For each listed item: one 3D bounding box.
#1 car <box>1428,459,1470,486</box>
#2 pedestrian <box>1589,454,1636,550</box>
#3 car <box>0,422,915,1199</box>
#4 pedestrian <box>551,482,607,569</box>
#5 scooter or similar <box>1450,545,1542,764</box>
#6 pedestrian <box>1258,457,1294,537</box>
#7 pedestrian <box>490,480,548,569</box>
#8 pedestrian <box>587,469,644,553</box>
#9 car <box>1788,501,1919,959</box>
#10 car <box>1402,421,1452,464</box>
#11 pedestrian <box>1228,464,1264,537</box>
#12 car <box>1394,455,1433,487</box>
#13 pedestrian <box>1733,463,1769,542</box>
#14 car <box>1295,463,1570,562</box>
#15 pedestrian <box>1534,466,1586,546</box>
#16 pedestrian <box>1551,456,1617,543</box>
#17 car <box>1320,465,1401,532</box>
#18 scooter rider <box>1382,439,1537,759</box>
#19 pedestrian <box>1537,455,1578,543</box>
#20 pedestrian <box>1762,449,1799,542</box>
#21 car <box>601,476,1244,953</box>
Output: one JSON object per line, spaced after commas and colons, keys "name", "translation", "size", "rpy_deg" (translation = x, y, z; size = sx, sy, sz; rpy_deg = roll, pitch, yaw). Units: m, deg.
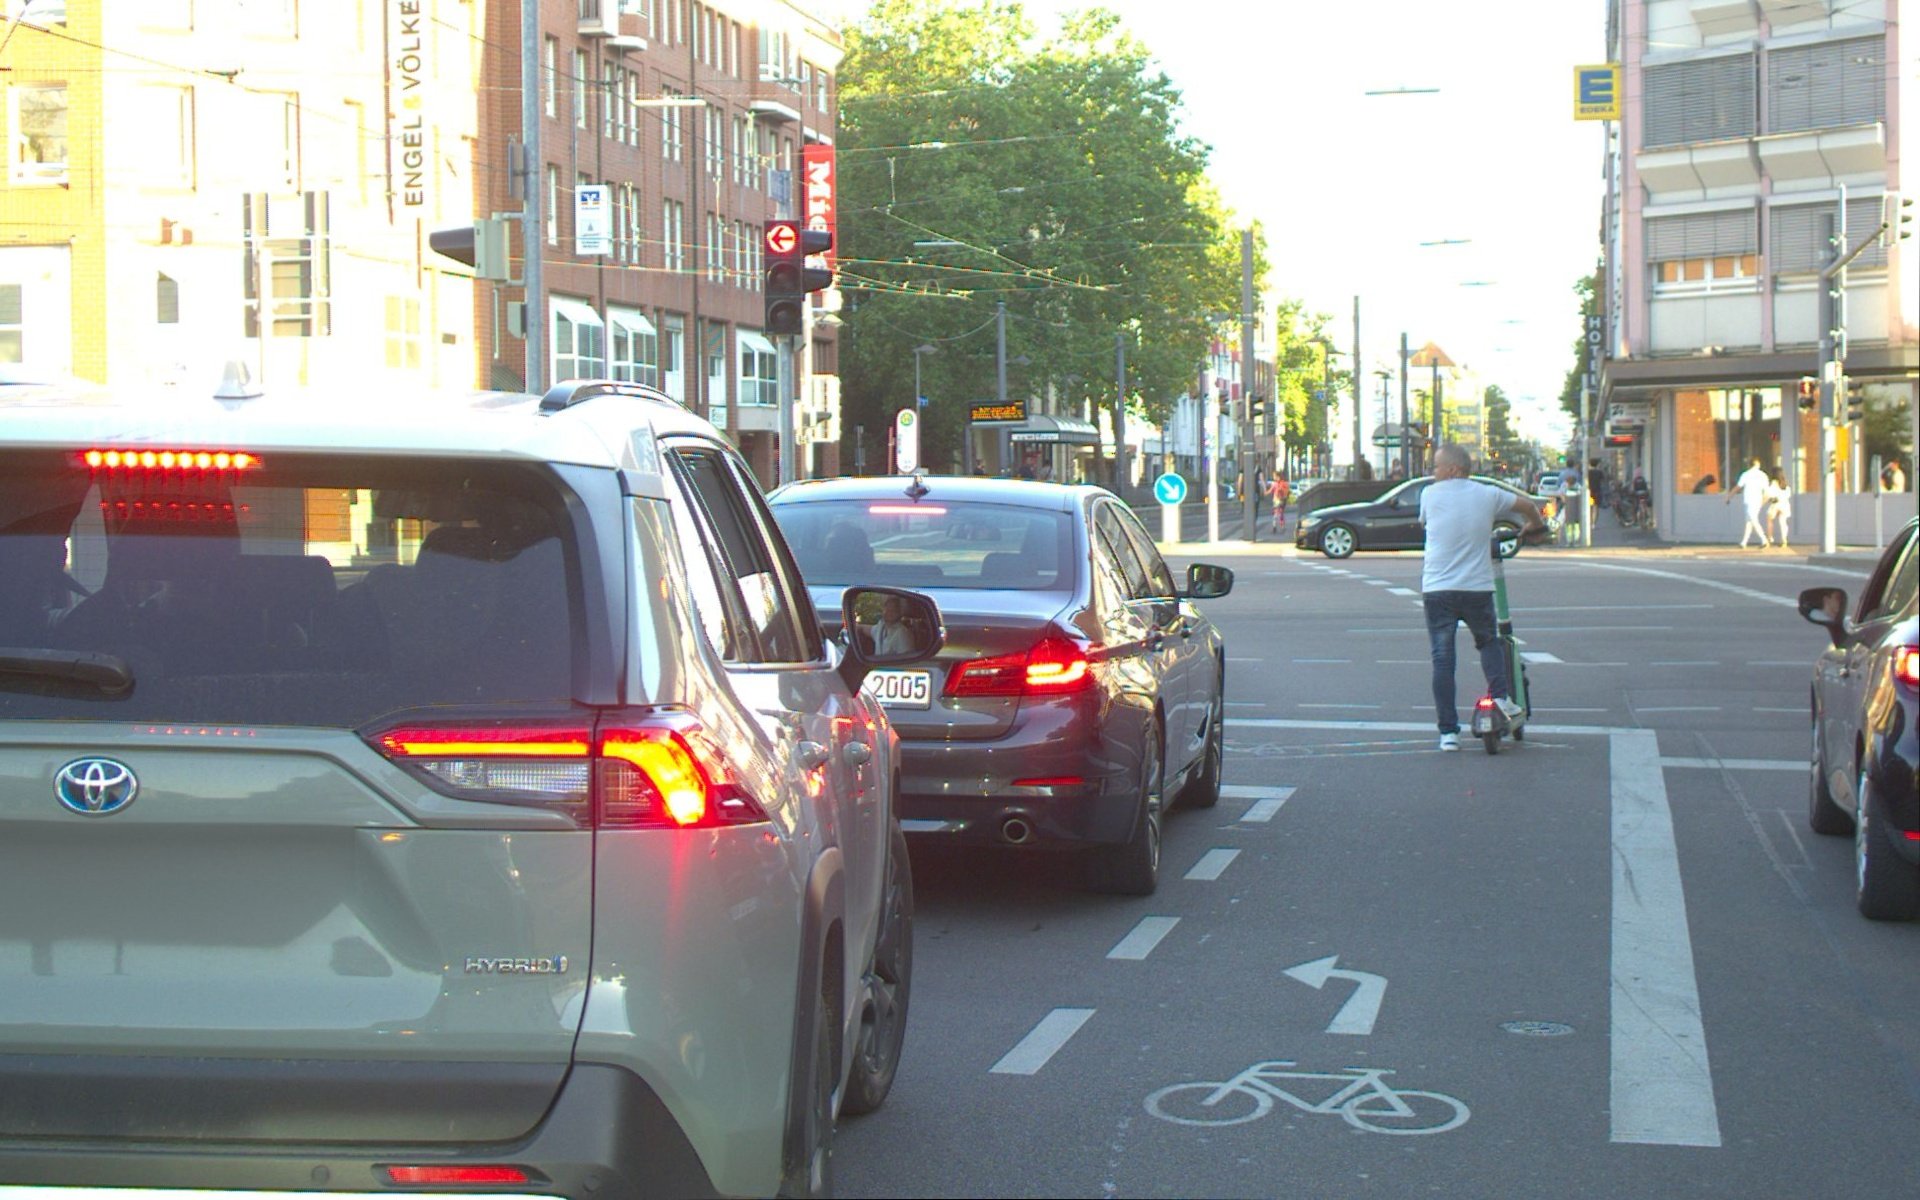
{"name": "car", "translation": [24.124, -6.306, 169.591], "size": [1.994, 1.305, 3.999], "rpy_deg": [0, 2, 9]}
{"name": "pedestrian", "translation": [16.144, -2.427, 85.063], "size": [1.085, 2.357, 1.055], "rpy_deg": [2, 2, 11]}
{"name": "car", "translation": [-1.087, 0.498, 6.373], "size": [1.835, 1.630, 4.091], "rpy_deg": [1, 3, 1]}
{"name": "pedestrian", "translation": [-8.931, -1.743, 80.598], "size": [1.093, 2.006, 0.908], "rpy_deg": [1, 2, 8]}
{"name": "scooter or similar", "translation": [2.813, 0.266, 17.992], "size": [0.279, 1.087, 1.256], "rpy_deg": [2, 2, 17]}
{"name": "pedestrian", "translation": [7.254, -2.356, 78.907], "size": [0.701, 1.816, 0.807], "rpy_deg": [2, 2, 12]}
{"name": "pedestrian", "translation": [-10.134, -1.749, 79.055], "size": [1.093, 2.006, 0.908], "rpy_deg": [1, 2, 8]}
{"name": "pedestrian", "translation": [-8.404, -2.184, 83.938], "size": [1.093, 2.006, 1.163], "rpy_deg": [1, 2, 8]}
{"name": "car", "translation": [4.124, 0.375, 12.834], "size": [1.765, 1.435, 3.999], "rpy_deg": [1, 2, 10]}
{"name": "car", "translation": [21.552, -7.241, 158.654], "size": [1.994, 1.894, 3.998], "rpy_deg": [2, 2, 11]}
{"name": "pedestrian", "translation": [6.592, -2.302, 79.197], "size": [0.701, 1.658, 0.807], "rpy_deg": [2, 2, 12]}
{"name": "car", "translation": [26.769, -7.614, 202.850], "size": [1.994, 1.853, 3.998], "rpy_deg": [0, 2, 12]}
{"name": "pedestrian", "translation": [15.117, -1.873, 65.700], "size": [0.493, 1.498, 0.475], "rpy_deg": [-1, 2, -27]}
{"name": "car", "translation": [8.047, -1.498, 58.679], "size": [4.553, 1.615, 1.998], "rpy_deg": [1, 2, 8]}
{"name": "pedestrian", "translation": [12.212, -1.920, 69.942], "size": [0.721, 1.618, 0.772], "rpy_deg": [-1, 2, -27]}
{"name": "pedestrian", "translation": [12.552, -2.015, 69.152], "size": [0.932, 1.720, 0.852], "rpy_deg": [0, 2, -31]}
{"name": "car", "translation": [10.862, -2.748, 93.081], "size": [1.812, 1.740, 3.713], "rpy_deg": [2, 2, 12]}
{"name": "scooter rider", "translation": [2.643, -0.017, 18.160], "size": [0.662, 1.641, 0.660], "rpy_deg": [2, 2, 19]}
{"name": "pedestrian", "translation": [15.039, -2.553, 86.562], "size": [0.932, 2.189, 0.852], "rpy_deg": [1, 2, 8]}
{"name": "pedestrian", "translation": [15.692, -2.008, 65.765], "size": [0.493, 1.768, 0.475], "rpy_deg": [-2, 2, -27]}
{"name": "car", "translation": [0.042, 0.284, 13.299], "size": [1.745, 1.455, 4.409], "rpy_deg": [2, 3, 9]}
